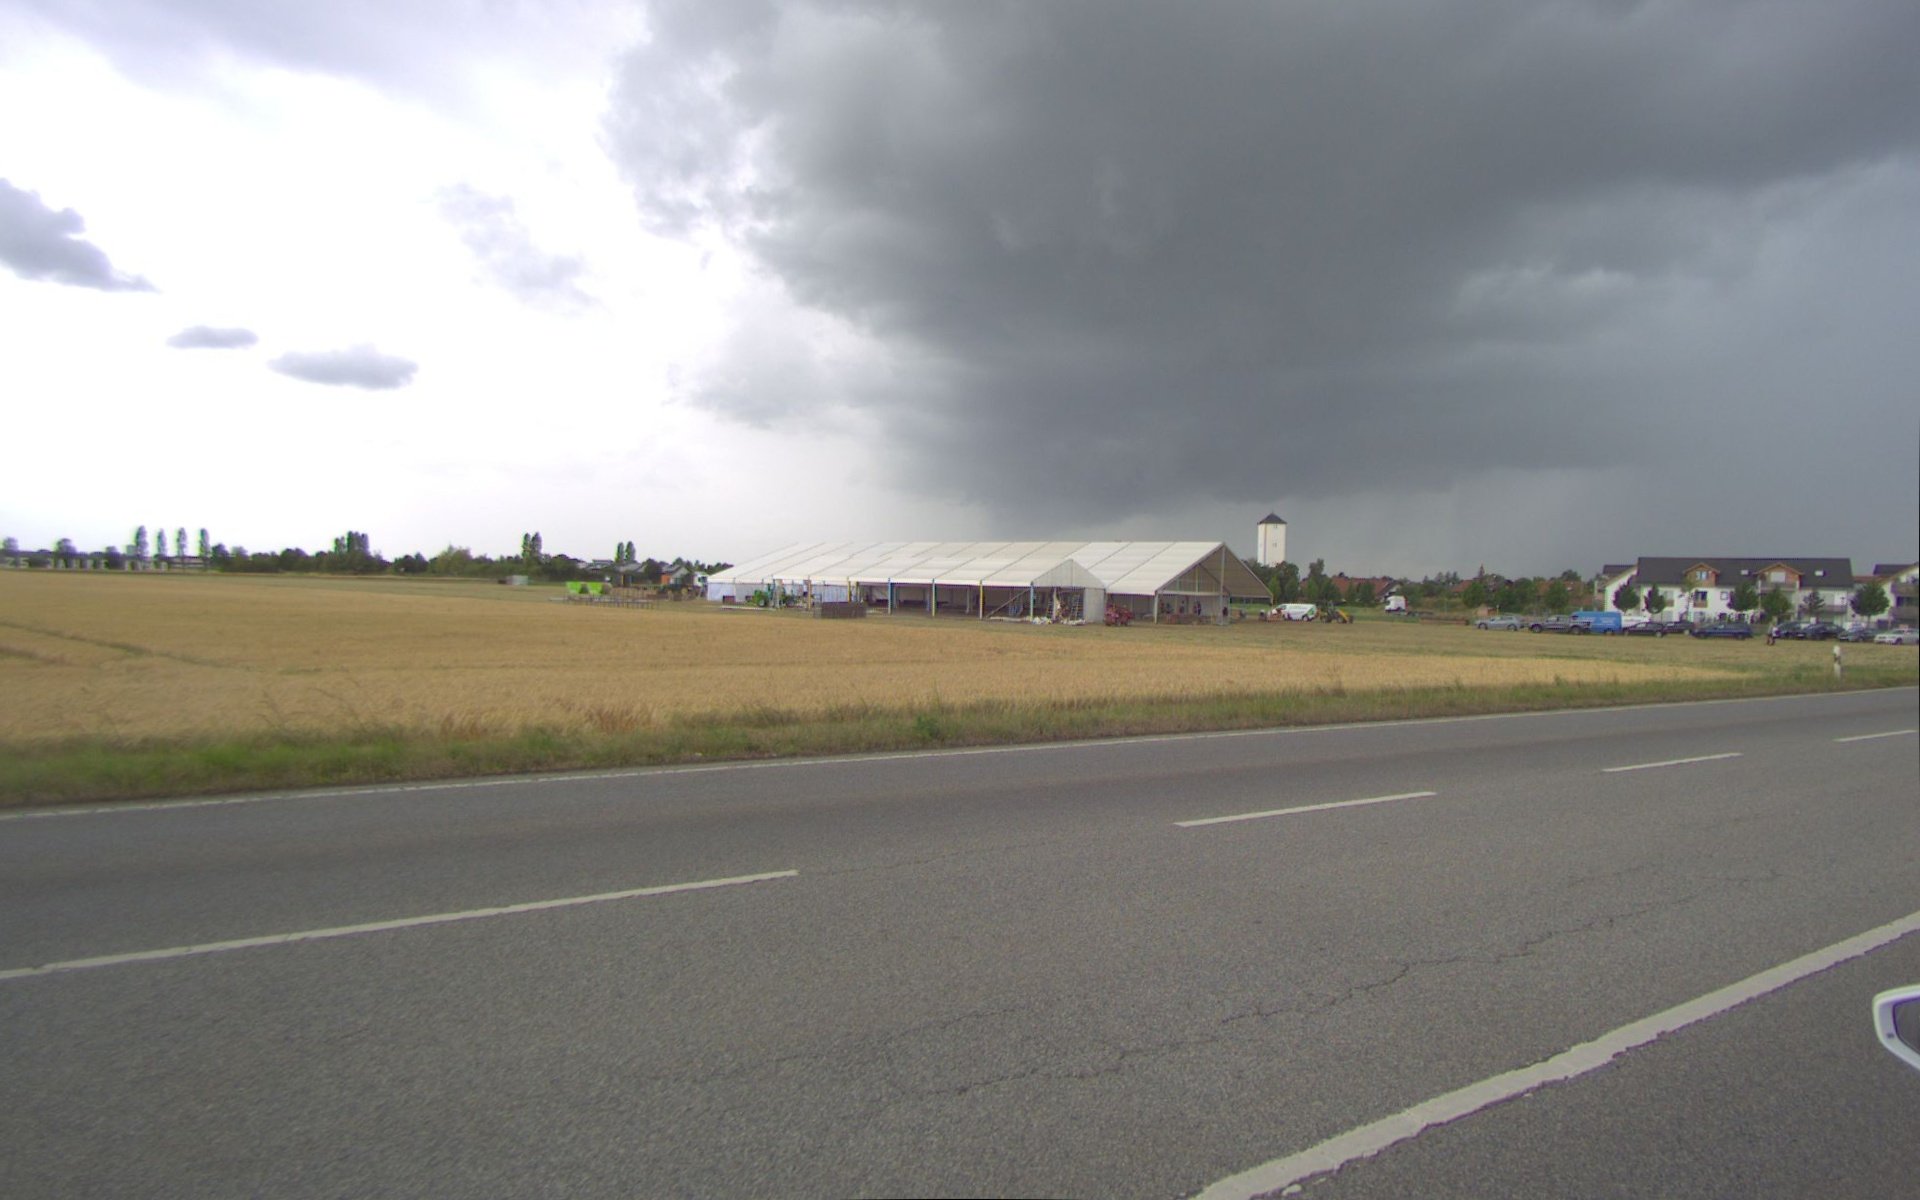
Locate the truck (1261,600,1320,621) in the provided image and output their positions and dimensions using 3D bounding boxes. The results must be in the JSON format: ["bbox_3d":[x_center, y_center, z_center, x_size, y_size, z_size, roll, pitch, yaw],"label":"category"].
[{"bbox_3d":[37.989,1.189,115.563,5.957,2.246,2.715,2,0,31],"label":"truck"}]

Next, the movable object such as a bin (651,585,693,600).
[{"bbox_3d":[-42.222,-1.122,147.388,2.527,2.040,5.390,2,0,39],"label":"movable object such as a bin"}]

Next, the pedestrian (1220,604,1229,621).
[{"bbox_3d":[27.205,1.293,103.314,0.679,1.799,0.692,2,0,35],"label":"pedestrian"}]

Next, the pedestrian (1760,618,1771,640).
[{"bbox_3d":[65.458,2.361,81.628,0.673,1.809,0.543,1,0,-44],"label":"pedestrian"}]

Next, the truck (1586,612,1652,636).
[{"bbox_3d":[67.444,2.403,102.842,5.491,2.226,2.598,2,0,36],"label":"truck"}]

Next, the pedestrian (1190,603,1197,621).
[{"bbox_3d":[23.915,1.236,103.074,0.642,1.767,0.728,2,0,12],"label":"pedestrian"}]

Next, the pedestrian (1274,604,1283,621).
[{"bbox_3d":[34.517,1.340,108.935,0.680,1.799,0.691,2,0,42],"label":"pedestrian"}]

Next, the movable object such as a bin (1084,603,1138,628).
[{"bbox_3d":[12.148,1.208,80.477,2.554,1.889,4.460,2,0,35],"label":"movable object such as a bin"}]

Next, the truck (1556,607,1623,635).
[{"bbox_3d":[61.545,2.034,98.287,5.376,2.478,2.386,2,0,36],"label":"truck"}]

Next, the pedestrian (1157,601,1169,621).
[{"bbox_3d":[20.760,1.087,102.938,0.761,2.040,0.868,1,0,-37],"label":"pedestrian"}]

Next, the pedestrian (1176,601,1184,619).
[{"bbox_3d":[22.805,1.037,104.120,0.717,1.803,0.760,2,0,9],"label":"pedestrian"}]

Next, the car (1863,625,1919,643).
[{"bbox_3d":[82.975,3.038,89.315,4.140,1.465,1.994,1,0,-14],"label":"car"}]

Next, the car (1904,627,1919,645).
[{"bbox_3d":[84.134,3.151,86.635,4.140,1.465,1.994,1,0,-14],"label":"car"}]

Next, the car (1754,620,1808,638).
[{"bbox_3d":[80.578,2.814,98.627,4.140,1.650,1.994,1,0,-14],"label":"car"}]

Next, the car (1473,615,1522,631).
[{"bbox_3d":[55.186,2.371,103.125,4.234,1.481,1.887,2,0,32],"label":"car"}]

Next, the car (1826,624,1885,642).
[{"bbox_3d":[81.892,2.989,91.888,4.140,1.556,1.994,1,0,-14],"label":"car"}]

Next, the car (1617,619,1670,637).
[{"bbox_3d":[66.896,2.729,98.328,4.103,1.539,1.992,2,0,38],"label":"car"}]

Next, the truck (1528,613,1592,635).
[{"bbox_3d":[57.676,2.259,96.596,5.152,1.946,2.107,2,0,32],"label":"truck"}]

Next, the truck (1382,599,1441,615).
[{"bbox_3d":[75.617,1.142,168.455,3.254,2.563,9.319,1,0,-24],"label":"truck"}]

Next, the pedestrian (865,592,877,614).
[{"bbox_3d":[-8.290,0.255,93.162,1.005,2.040,0.806,2,0,-2],"label":"pedestrian"}]

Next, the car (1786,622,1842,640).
[{"bbox_3d":[80.642,2.926,94.822,4.140,1.650,1.994,1,0,-14],"label":"car"}]

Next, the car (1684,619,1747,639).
[{"bbox_3d":[71.396,2.727,94.933,4.657,1.720,1.992,2,0,38],"label":"car"}]

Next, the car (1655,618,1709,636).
[{"bbox_3d":[77.396,2.888,107.710,4.568,1.720,1.992,2,0,38],"label":"car"}]

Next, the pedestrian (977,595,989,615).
[{"bbox_3d":[2.442,0.505,105.131,0.930,2.130,0.860,1,0,-31],"label":"pedestrian"}]

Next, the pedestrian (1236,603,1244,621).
[{"bbox_3d":[29.876,1.281,107.208,0.616,1.890,0.706,2,0,37],"label":"pedestrian"}]

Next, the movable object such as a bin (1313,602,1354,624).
[{"bbox_3d":[40.741,1.383,109.568,3.927,2.273,1.882,2,0,31],"label":"movable object such as a bin"}]

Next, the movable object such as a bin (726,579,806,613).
[{"bbox_3d":[-20.077,-0.449,103.746,7.462,3.219,4.142,3,1,38],"label":"movable object such as a bin"}]

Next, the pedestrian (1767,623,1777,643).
[{"bbox_3d":[66.286,2.697,82.035,0.582,1.576,0.623,2,0,39],"label":"pedestrian"}]
